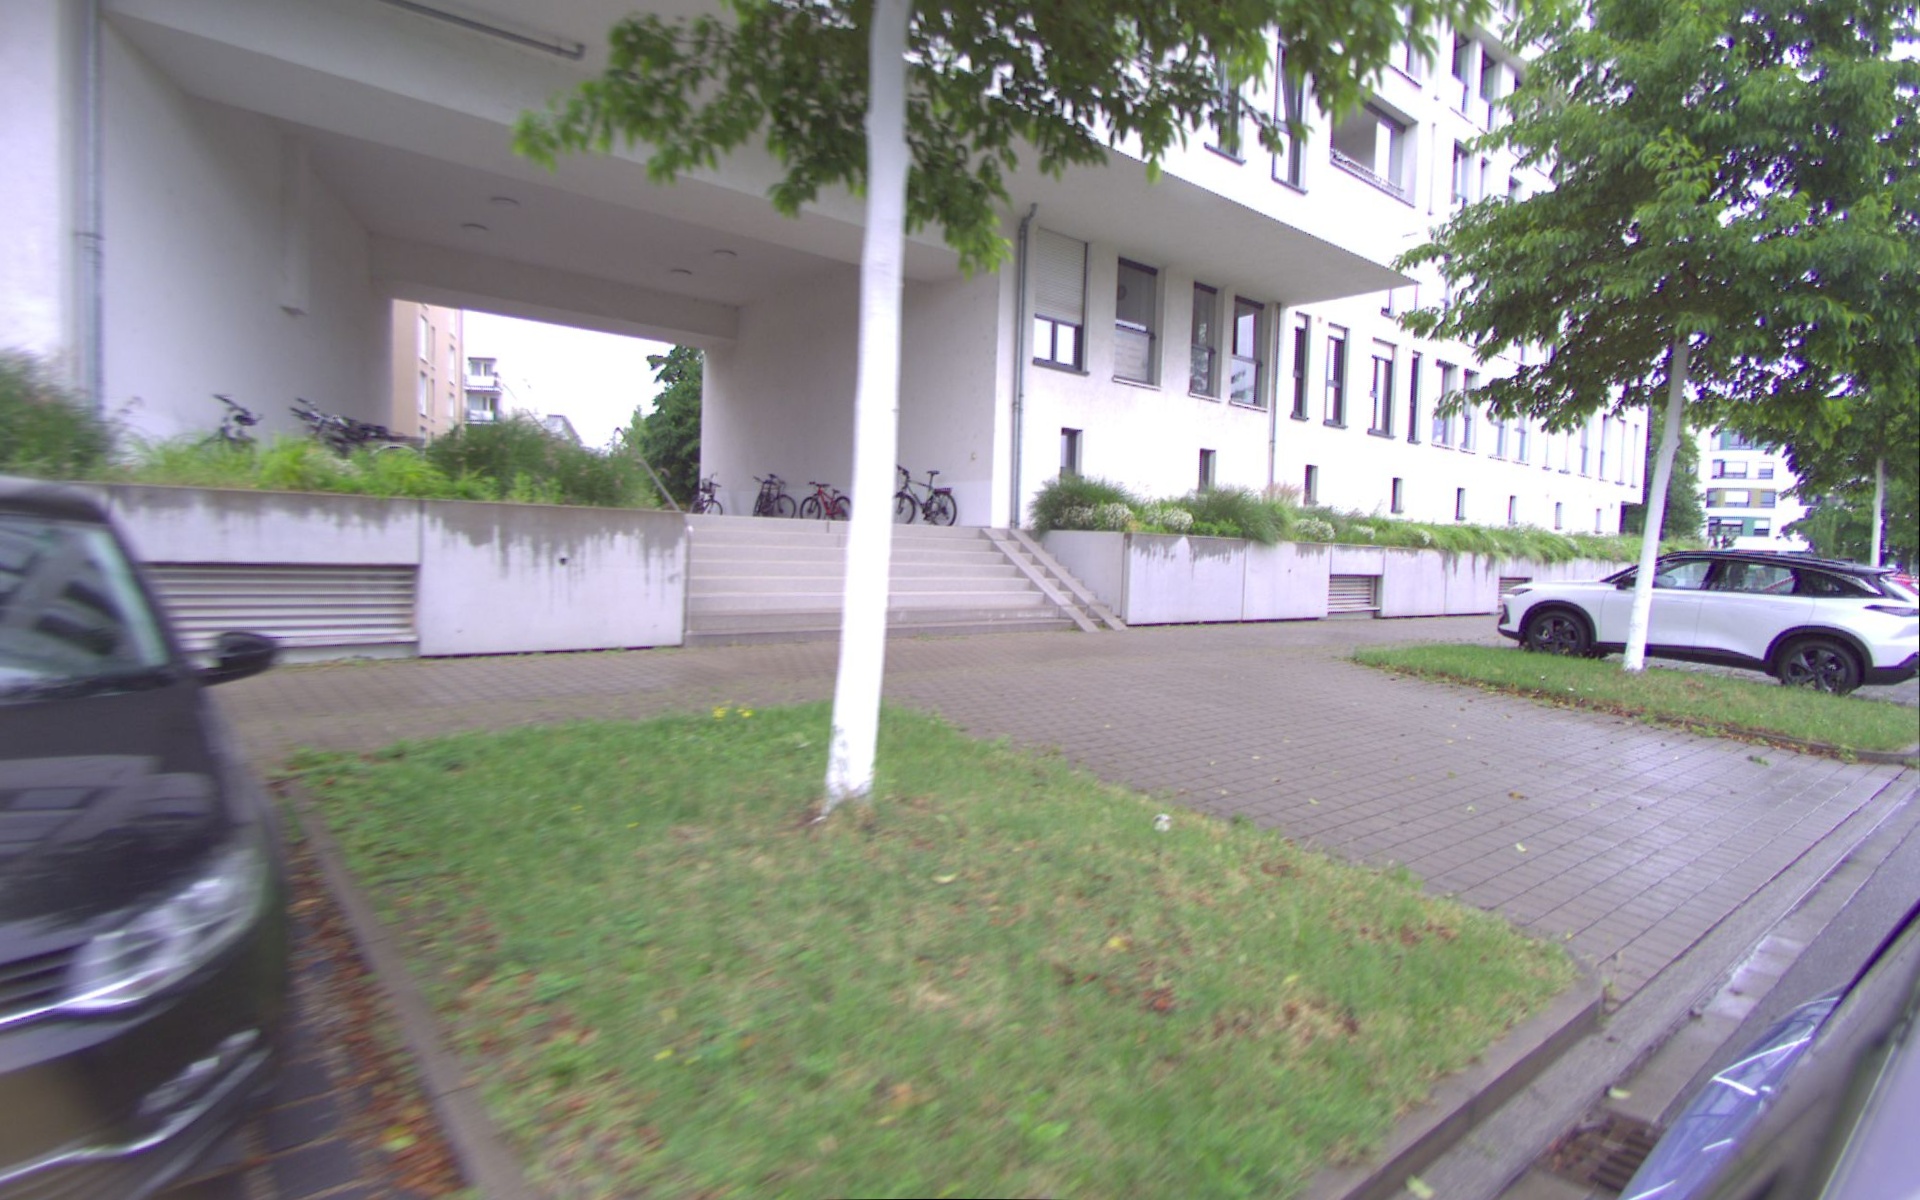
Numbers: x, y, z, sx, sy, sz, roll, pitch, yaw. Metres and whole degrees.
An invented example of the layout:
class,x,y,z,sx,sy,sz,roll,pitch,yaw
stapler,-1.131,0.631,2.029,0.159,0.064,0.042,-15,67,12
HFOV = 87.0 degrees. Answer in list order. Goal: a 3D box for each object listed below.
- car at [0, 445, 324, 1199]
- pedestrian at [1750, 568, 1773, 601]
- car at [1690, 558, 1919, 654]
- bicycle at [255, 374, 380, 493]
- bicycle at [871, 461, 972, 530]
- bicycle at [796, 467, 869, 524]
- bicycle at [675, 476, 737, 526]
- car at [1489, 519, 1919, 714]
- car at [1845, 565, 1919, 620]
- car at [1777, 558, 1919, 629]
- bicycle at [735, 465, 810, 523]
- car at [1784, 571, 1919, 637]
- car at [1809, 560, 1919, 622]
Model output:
class,x,y,z,sx,sy,sz,roll,pitch,yaw
car,-3.449,0.262,3.017,1.904,1.513,3.995,0,7,-43
pedestrian,50.841,-1.003,64.183,0.611,2.038,0.968,0,3,-40
car,17.040,0.062,19.888,1.789,1.468,3.998,-2,7,-40
bicycle,-8.003,-2.003,12.758,0.896,1.132,2.973,0,3,-24
bicycle,-0.682,-1.760,17.376,0.711,1.067,1.899,-1,3,-40
bicycle,-2.529,-2.028,19.899,0.439,1.019,1.898,-1,2,-40
bicycle,-5.866,-2.254,23.345,0.606,1.061,1.899,-1,3,-40
car,9.685,0.041,13.079,1.854,1.704,4.552,-1,9,-42
car,29.990,-0.103,30.593,1.794,1.514,4.583,-1,7,-40
car,24.240,-0.164,26.566,1.606,1.573,4.000,-1,7,-39
bicycle,-4.000,-2.216,21.460,0.711,1.132,1.899,-1,3,-40
car,22.694,0.081,24.560,1.565,1.492,3.963,-1,3,-42
car,26.574,-0.173,27.929,1.662,1.498,4.501,-1,7,-40
